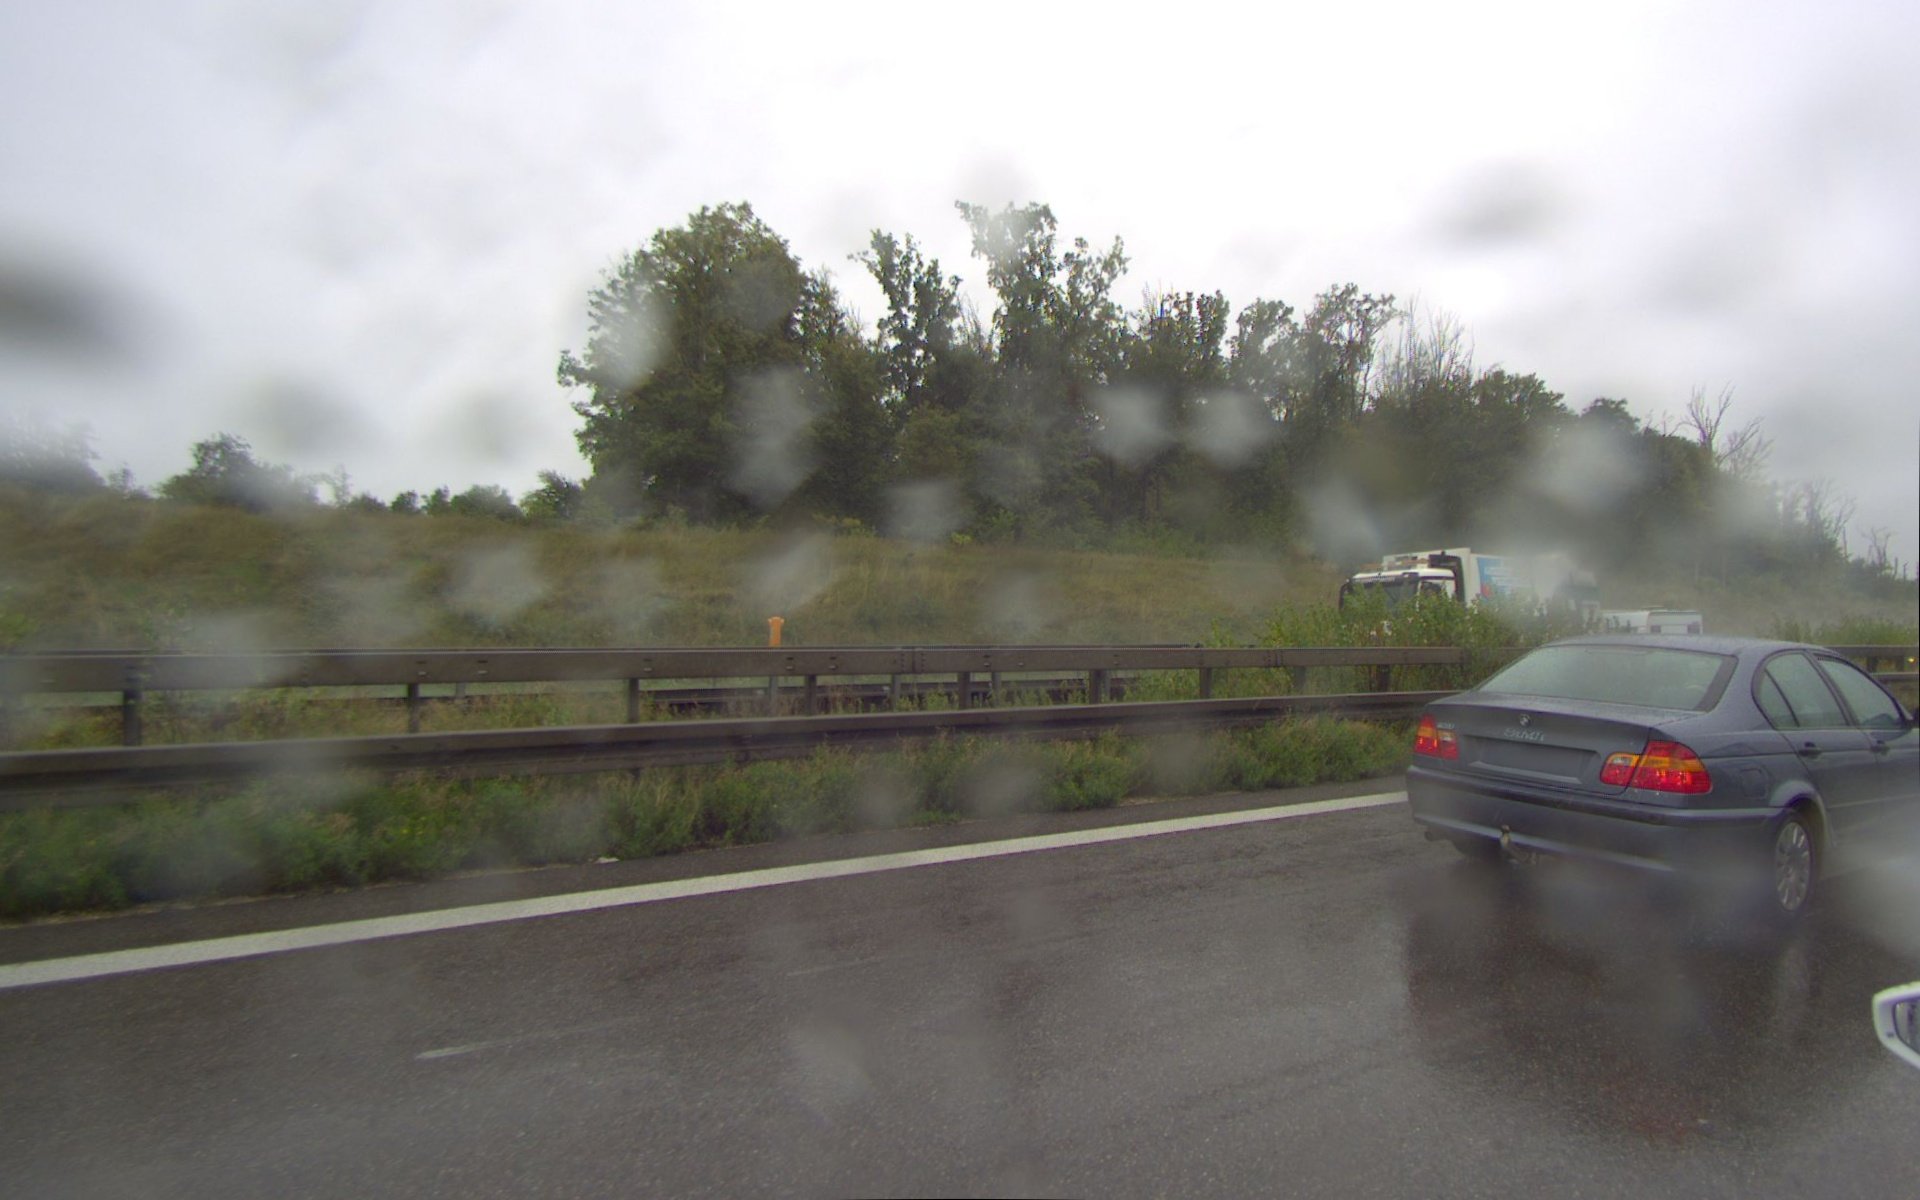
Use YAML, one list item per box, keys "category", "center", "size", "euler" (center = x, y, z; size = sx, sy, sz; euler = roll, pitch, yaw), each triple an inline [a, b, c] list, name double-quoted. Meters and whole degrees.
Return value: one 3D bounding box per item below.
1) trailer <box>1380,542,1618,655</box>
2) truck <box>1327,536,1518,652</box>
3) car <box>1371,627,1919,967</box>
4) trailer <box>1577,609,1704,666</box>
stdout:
- category: "trailer"
  center: [15.262, 0.102, 28.306]
  size: [7.237, 2.754, 2.471]
  euler: [3, -3, -30]
- category: "truck"
  center: [12.246, -0.049, 26.580]
  size: [4.474, 2.754, 2.471]
  euler: [3, -3, -30]
- category: "car"
  center: [4.583, 0.910, 6.155]
  size: [4.182, 1.418, 1.709]
  euler: [1, -1, -32]
- category: "trailer"
  center: [26.407, 1.497, 38.929]
  size: [5.289, 2.040, 2.082]
  euler: [3, -3, -31]
